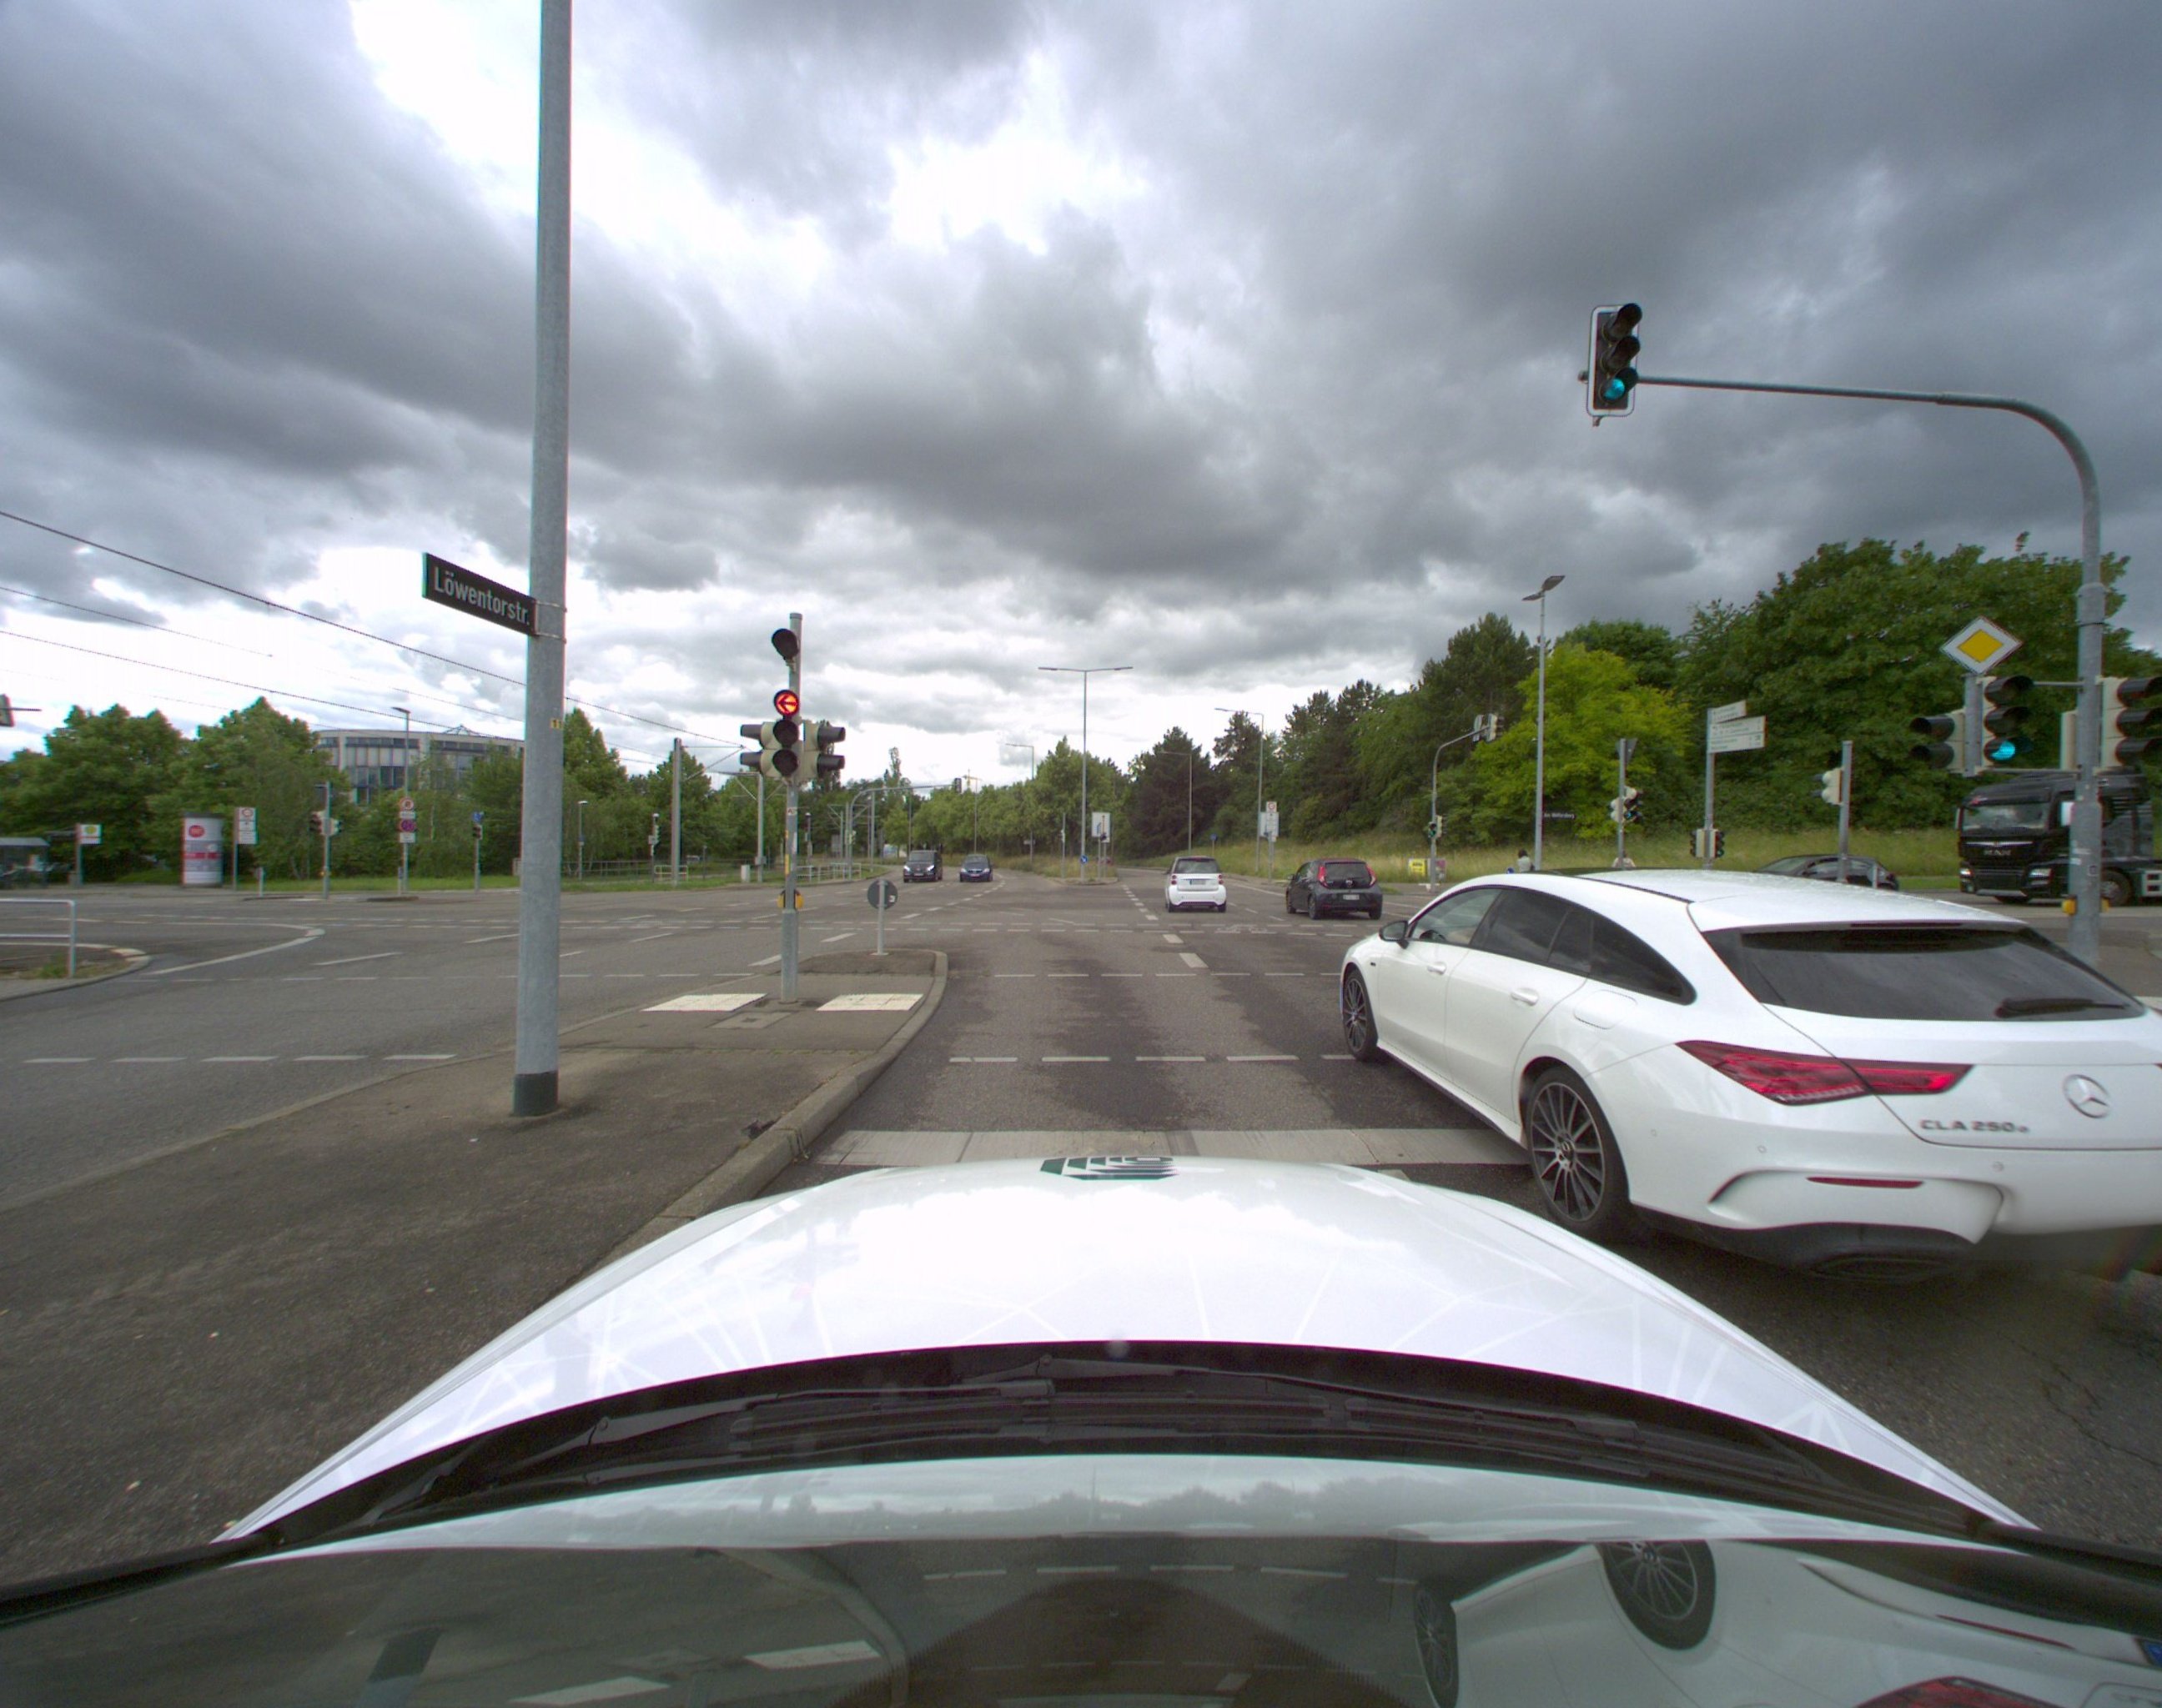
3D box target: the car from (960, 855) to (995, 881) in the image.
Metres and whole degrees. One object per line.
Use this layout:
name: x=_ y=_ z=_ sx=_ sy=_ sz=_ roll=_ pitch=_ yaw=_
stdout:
car: x=-6.050 y=0.808 z=47.963 sx=1.732 sy=1.508 sz=3.656 roll=0 pitch=-1 yaw=-3

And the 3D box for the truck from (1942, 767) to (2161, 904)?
truck: x=28.085 y=-0.493 z=22.262 sx=5.971 sy=3.486 sz=2.694 roll=-1 pitch=-1 yaw=4

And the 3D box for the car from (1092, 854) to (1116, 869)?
car: x=2.510 y=0.838 z=90.673 sx=1.786 sy=1.603 sz=3.871 roll=0 pitch=-1 yaw=-12

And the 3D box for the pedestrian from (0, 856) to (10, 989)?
pedestrian: x=-12.776 y=0.791 z=9.097 sx=0.632 sy=1.536 sz=0.719 roll=0 pitch=-1 yaw=-2

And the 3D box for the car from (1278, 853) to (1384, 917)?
car: x=6.177 y=0.735 z=20.526 sx=1.607 sy=1.453 sz=3.883 roll=0 pitch=-1 yaw=2

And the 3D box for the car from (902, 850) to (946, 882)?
car: x=-9.378 y=0.675 z=48.990 sx=1.883 sy=1.812 sz=5.087 roll=-1 pitch=0 yaw=-3

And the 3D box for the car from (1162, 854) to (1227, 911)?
car: x=3.172 y=0.772 z=23.196 sx=1.585 sy=1.516 sz=2.768 roll=0 pitch=-1 yaw=3

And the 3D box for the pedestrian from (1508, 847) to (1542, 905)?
pedestrian: x=12.843 y=0.630 z=23.551 sx=0.640 sy=1.662 sz=0.715 roll=0 pitch=-1 yaw=8

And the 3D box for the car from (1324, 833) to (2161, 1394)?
car: x=2.844 y=0.719 z=4.466 sx=1.837 sy=1.506 sz=4.533 roll=0 pitch=-1 yaw=2

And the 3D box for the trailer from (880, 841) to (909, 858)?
trailer: x=-35.467 y=-0.805 z=154.837 sx=2.770 sy=3.012 sz=6.014 roll=0 pitch=-1 yaw=-41

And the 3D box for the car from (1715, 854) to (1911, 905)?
car: x=20.336 y=0.698 z=22.751 sx=3.859 sy=1.338 sz=1.698 roll=0 pitch=-1 yaw=4

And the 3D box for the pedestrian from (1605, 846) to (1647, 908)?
pedestrian: x=14.370 y=0.601 z=21.493 sx=0.640 sy=1.612 sz=0.715 roll=0 pitch=-1 yaw=7
